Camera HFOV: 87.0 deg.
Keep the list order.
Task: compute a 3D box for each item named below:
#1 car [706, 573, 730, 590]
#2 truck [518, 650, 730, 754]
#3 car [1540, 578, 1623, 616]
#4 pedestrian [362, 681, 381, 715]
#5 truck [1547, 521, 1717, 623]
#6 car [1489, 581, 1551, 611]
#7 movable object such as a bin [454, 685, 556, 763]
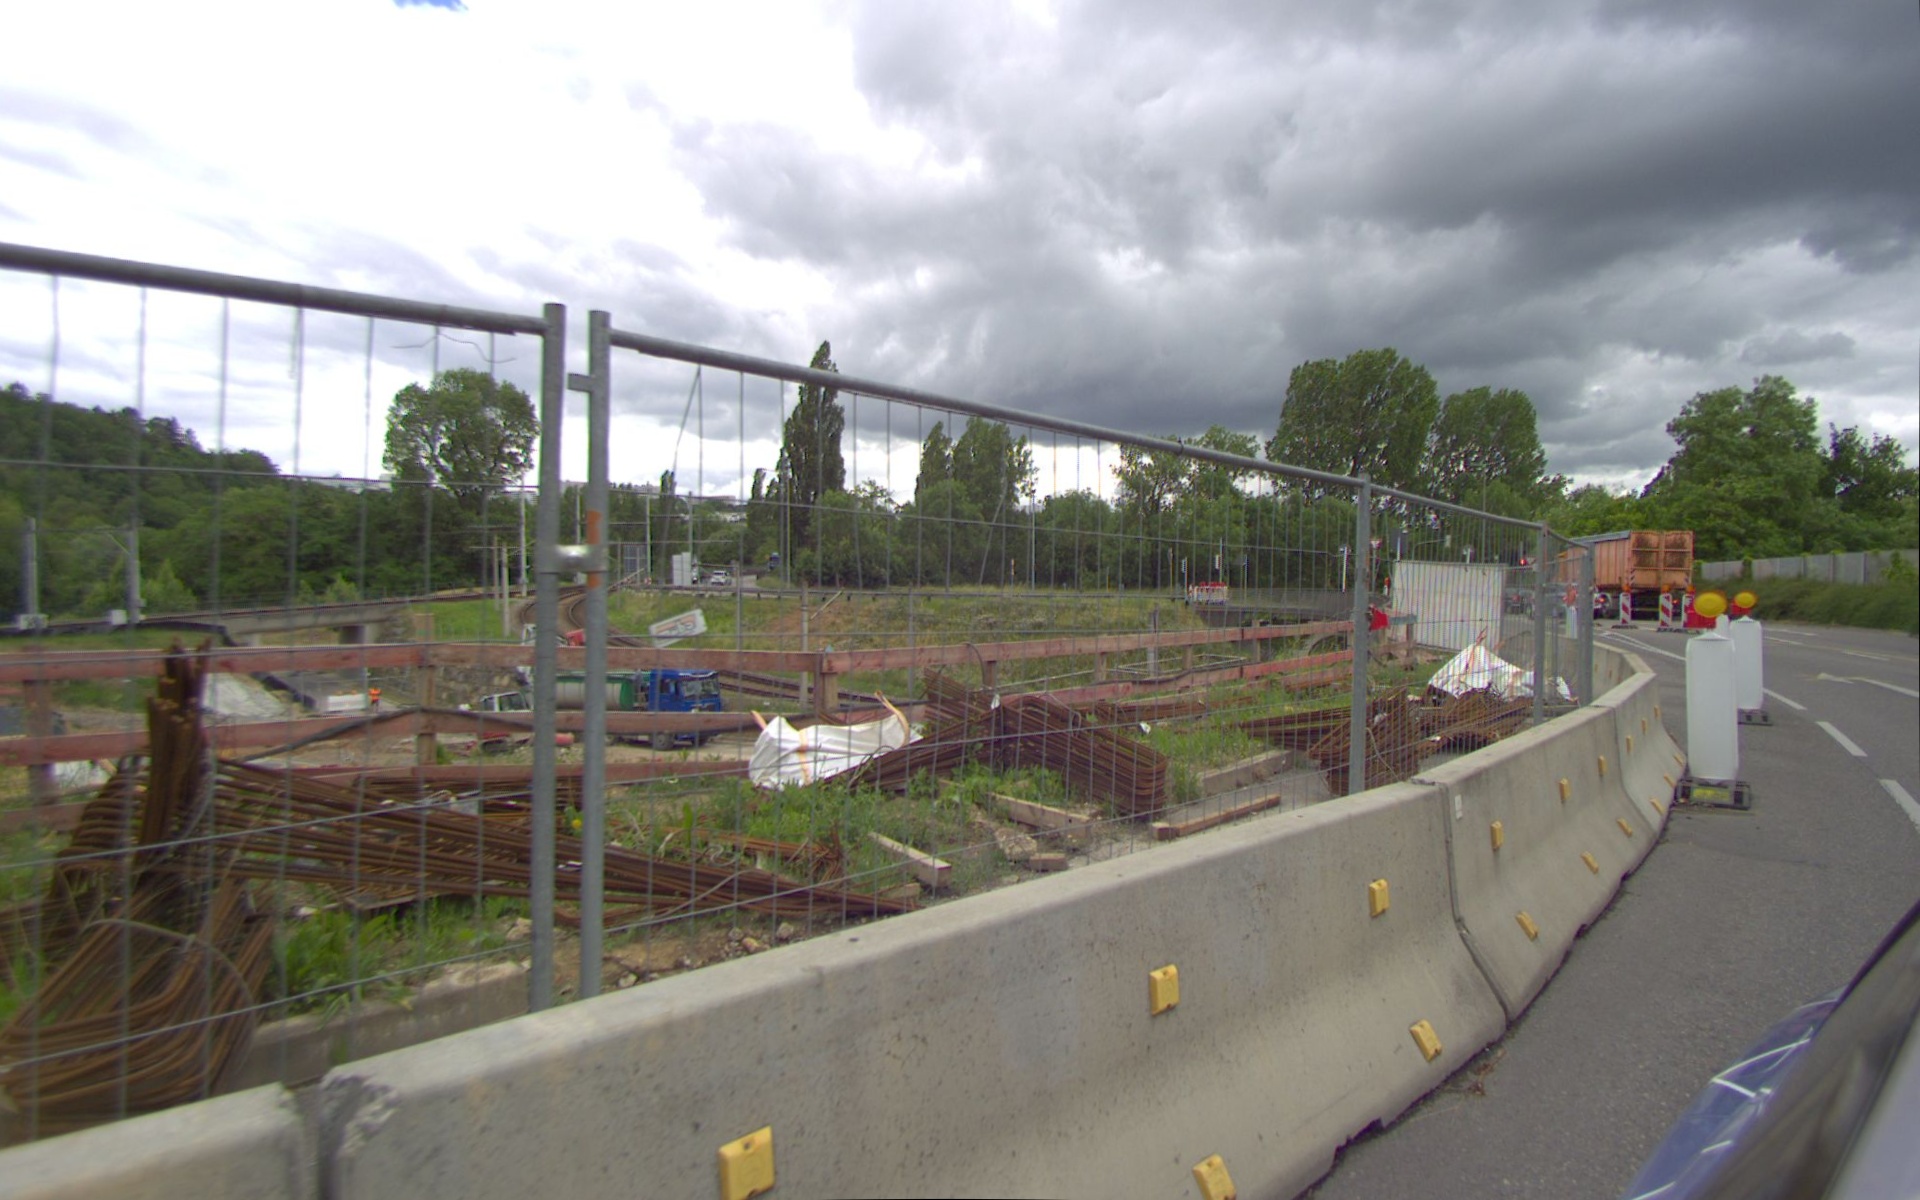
[{"bbox_3d":[-28.600,-2.148,119.748,2.042,1.783,4.323,1,-2,-3],"label":"car"},{"bbox_3d":[-15.974,4.550,47.452,11.532,3.942,2.814,0,1,33],"label":"truck"},{"bbox_3d":[27.349,-0.165,44.709,1.611,1.564,4.339,0,1,10],"label":"car"},{"bbox_3d":[-36.362,6.031,62.545,0.677,2.040,0.816,-3,-2,31],"label":"pedestrian"},{"bbox_3d":[31.156,-1.271,47.576,3.071,4.273,9.762,1,1,11],"label":"truck"},{"bbox_3d":[31.900,-0.247,57.733,1.614,1.571,3.784,3,0,4],"label":"car"},{"bbox_3d":[-20.041,5.361,44.475,2.994,2.784,4.280,-1,0,-41],"label":"movable object such as a bin"}]
